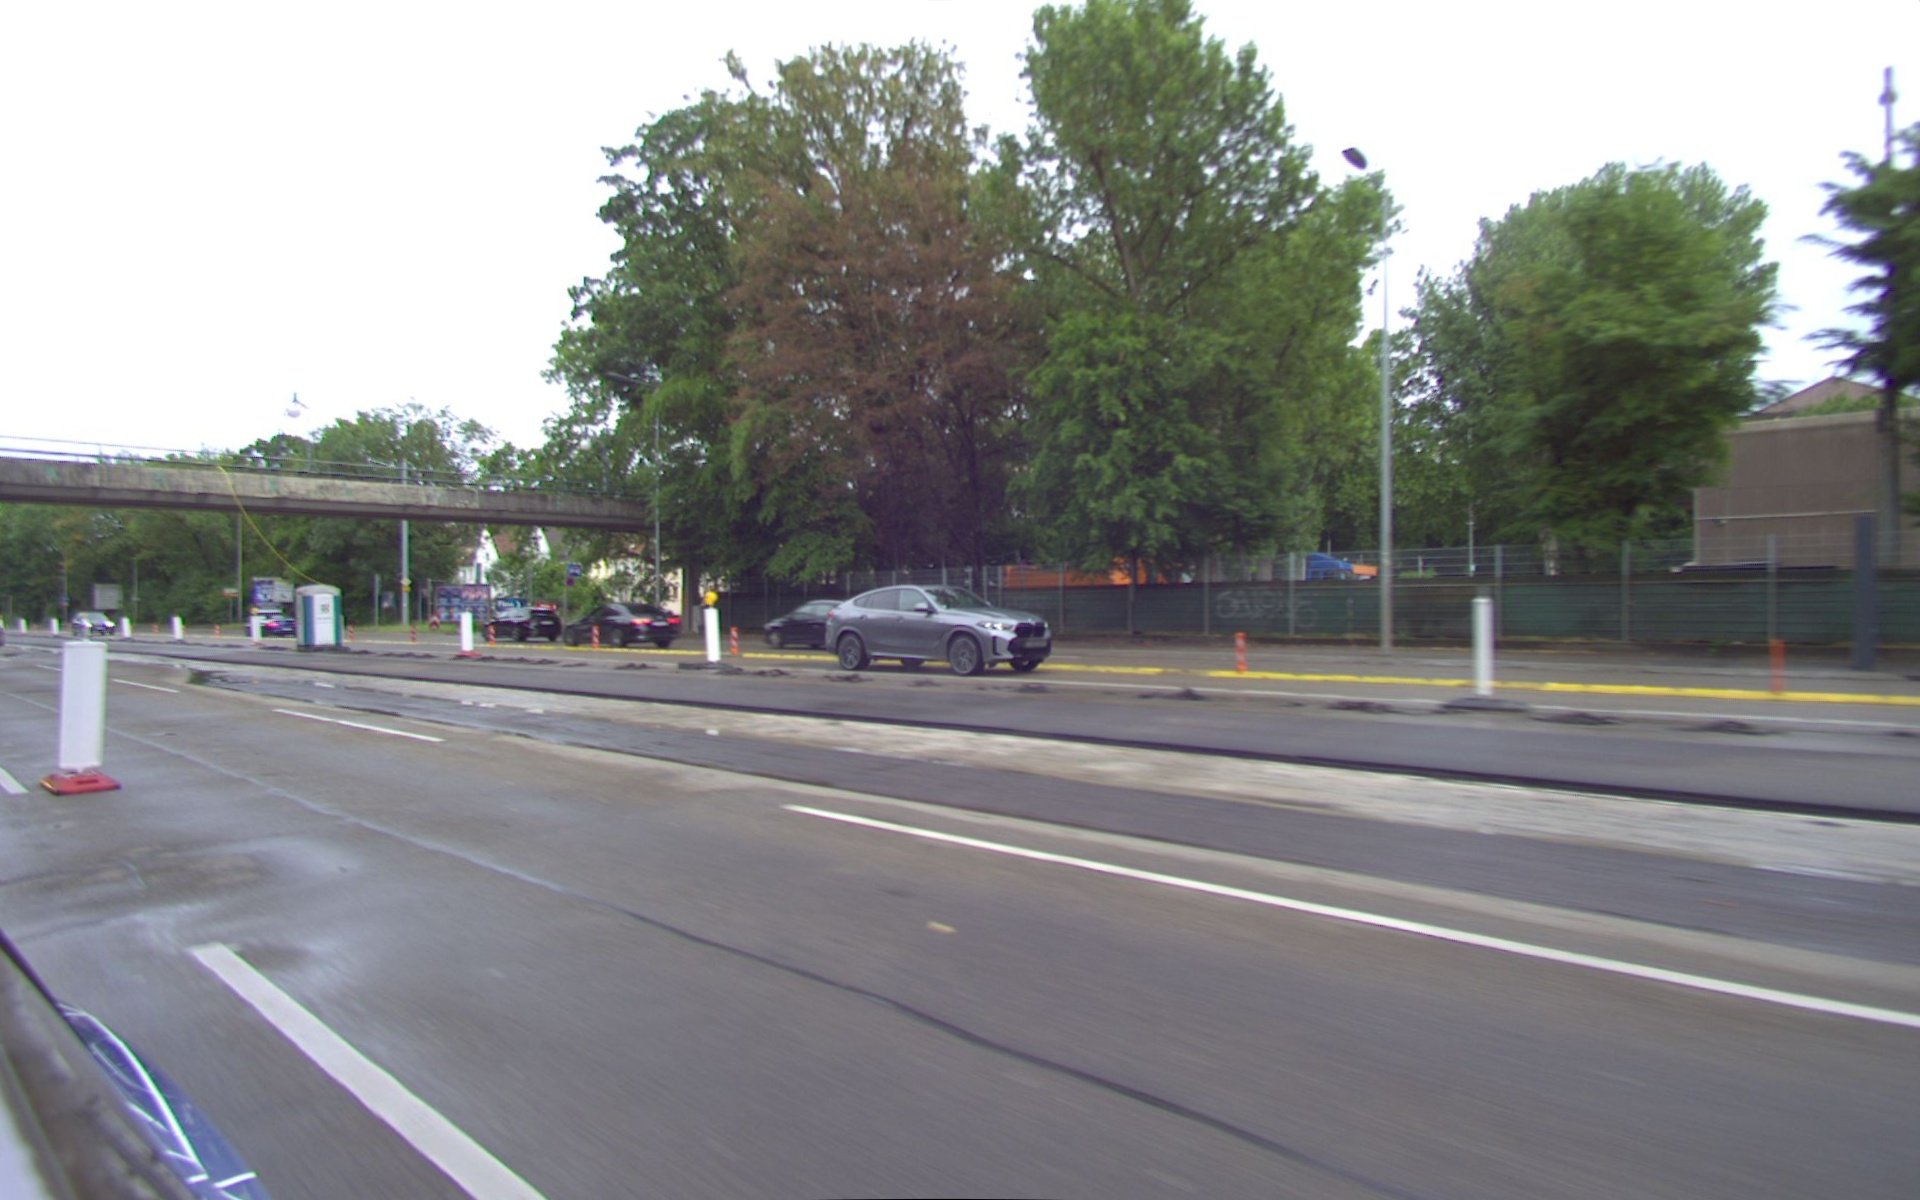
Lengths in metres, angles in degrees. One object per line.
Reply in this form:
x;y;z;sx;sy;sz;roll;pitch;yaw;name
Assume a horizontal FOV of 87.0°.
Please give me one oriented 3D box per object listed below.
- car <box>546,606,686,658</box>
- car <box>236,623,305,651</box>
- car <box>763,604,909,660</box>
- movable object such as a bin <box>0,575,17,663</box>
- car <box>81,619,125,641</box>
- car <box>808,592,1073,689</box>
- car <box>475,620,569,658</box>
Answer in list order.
-11.292;1.035;33.059;5.087;1.524;2.056;-2;0;41;car
-38.994;2.051;57.184;4.880;1.470;1.973;-1;0;40;car
-3.778;0.927;30.431;4.302;1.529;1.973;-1;0;41;car
-54.279;1.068;54.909;10.065;4.555;3.481;-1;0;41;movable object such as a bin
-75.725;2.613;89.389;5.053;1.752;2.193;-1;0;40;car
-0.495;0.708;19.636;5.053;1.625;2.055;-1;0;40;car
-18.586;1.603;42.837;4.566;1.358;1.972;1;1;43;car
